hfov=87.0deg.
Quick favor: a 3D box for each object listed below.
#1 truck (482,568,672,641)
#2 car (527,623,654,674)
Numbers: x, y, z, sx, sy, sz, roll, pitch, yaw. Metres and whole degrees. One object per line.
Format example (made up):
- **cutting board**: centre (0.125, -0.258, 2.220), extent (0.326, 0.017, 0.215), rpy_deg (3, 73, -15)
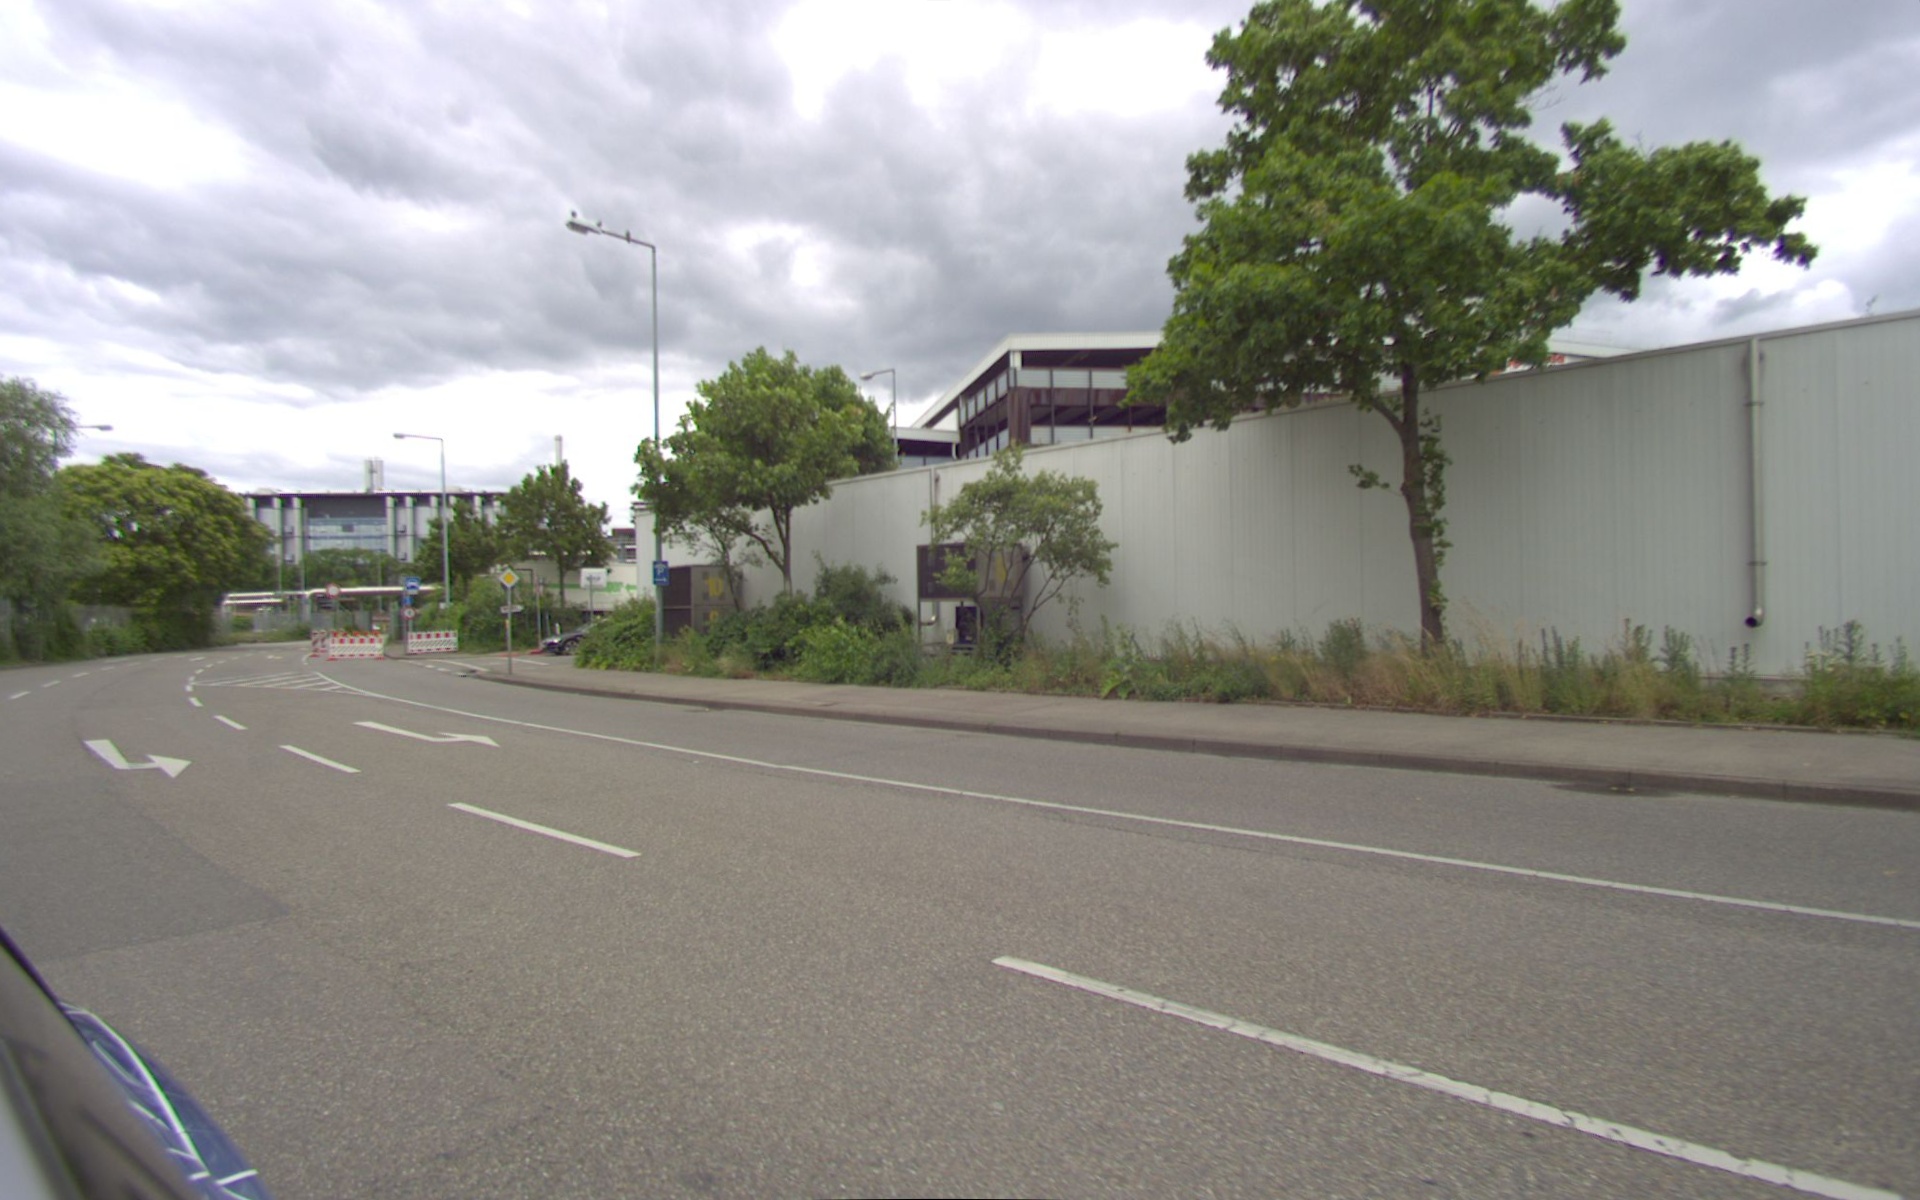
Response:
- **truck**: centre (-20.538, 0.265, 54.676), extent (9.132, 3.623, 2.937), rpy_deg (0, -1, -40)
- **car**: centre (-15.503, 1.998, 42.587), extent (4.550, 1.823, 2.003), rpy_deg (-2, 0, -41)
